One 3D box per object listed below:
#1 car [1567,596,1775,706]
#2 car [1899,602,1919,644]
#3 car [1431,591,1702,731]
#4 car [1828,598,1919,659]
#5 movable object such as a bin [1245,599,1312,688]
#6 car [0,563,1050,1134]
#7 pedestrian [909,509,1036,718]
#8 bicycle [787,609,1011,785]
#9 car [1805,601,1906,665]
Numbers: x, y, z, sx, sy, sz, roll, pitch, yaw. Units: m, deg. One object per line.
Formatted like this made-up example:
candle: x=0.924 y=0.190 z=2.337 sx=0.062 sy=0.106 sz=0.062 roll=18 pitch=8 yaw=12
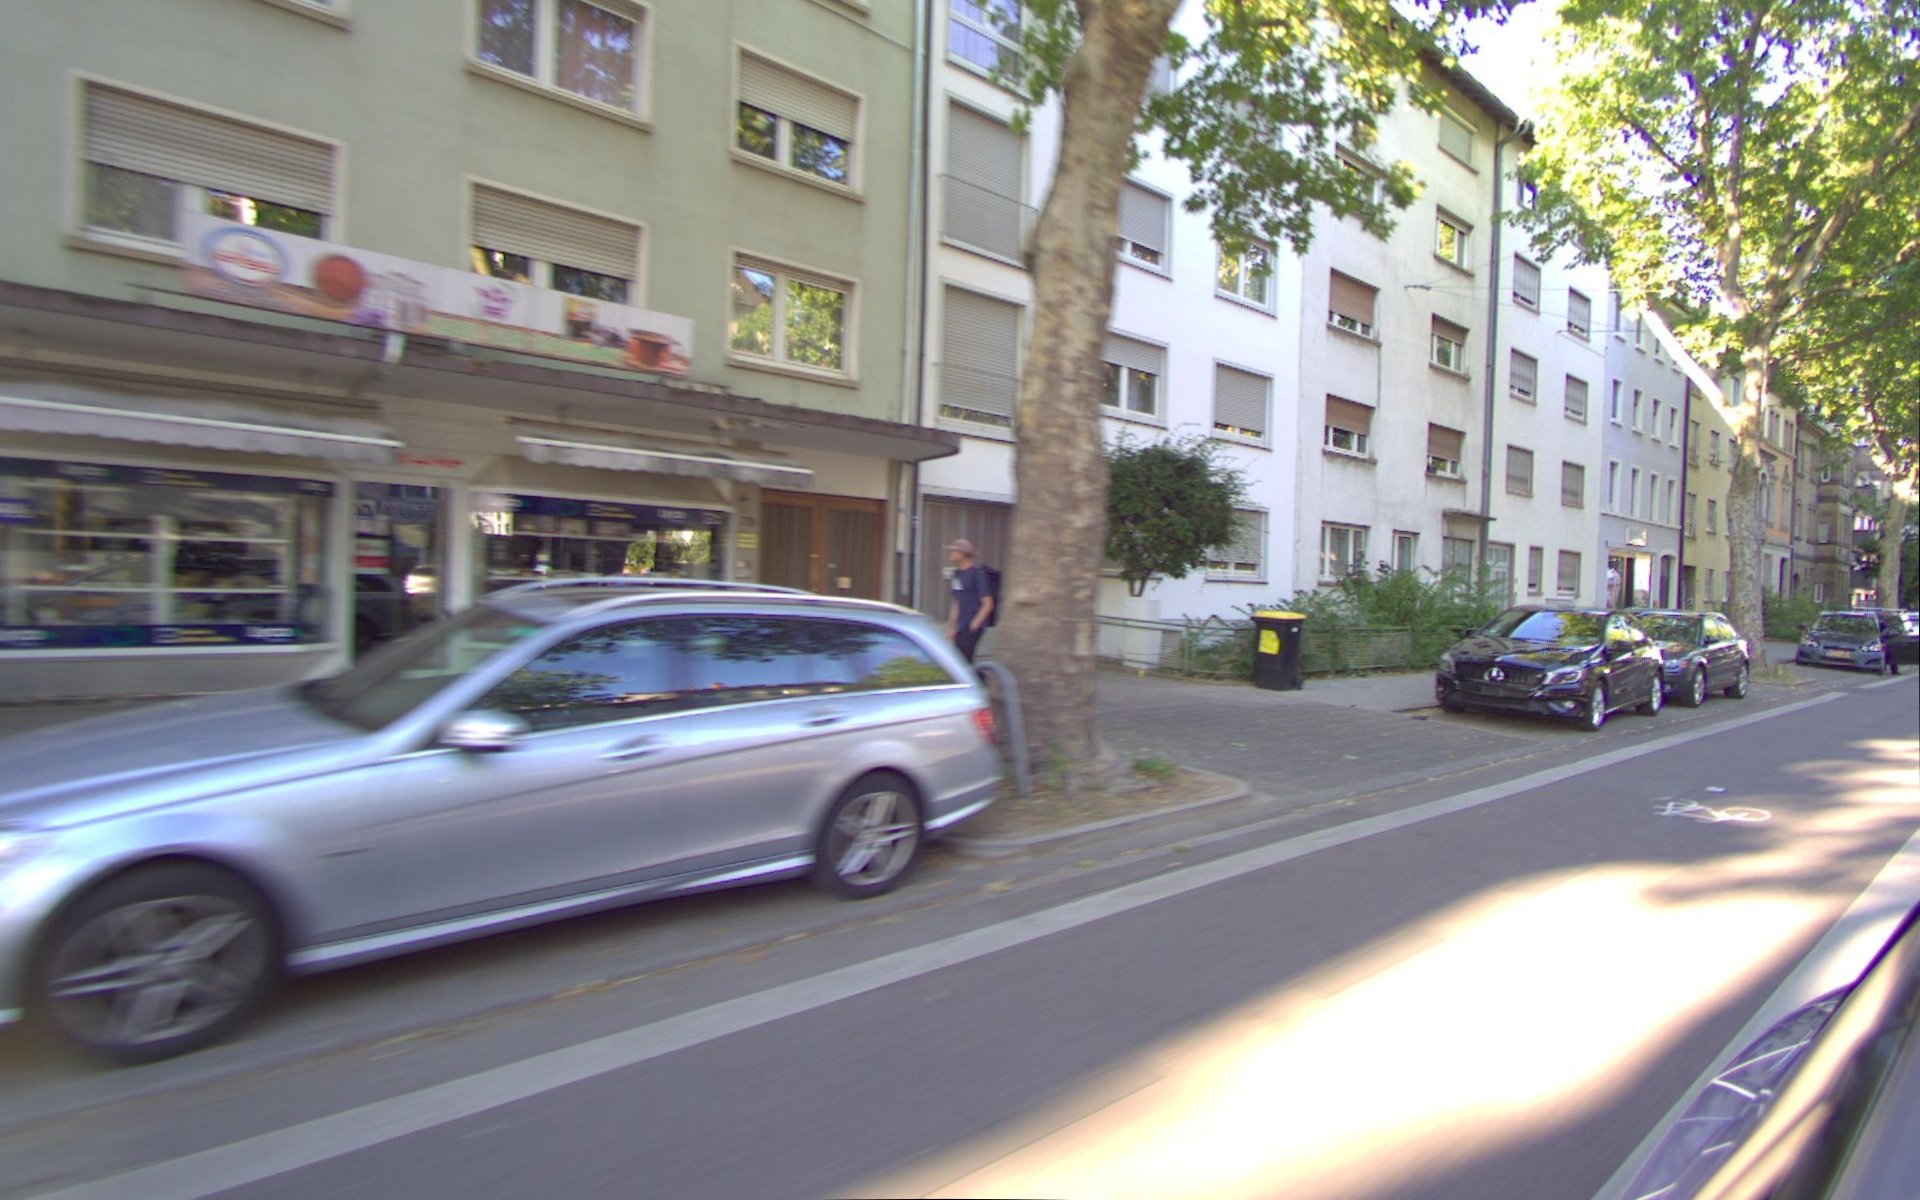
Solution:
car: x=11.556 y=0.720 z=16.345 sx=4.287 sy=1.432 sz=1.712 roll=0 pitch=4 yaw=-41
car: x=38.105 y=0.918 z=39.479 sx=4.121 sy=1.545 sz=1.702 roll=1 pitch=2 yaw=-41
car: x=7.977 y=0.669 z=13.137 sx=4.287 sy=1.432 sz=1.712 roll=0 pitch=4 yaw=-41
car: x=28.377 y=0.813 z=30.988 sx=4.583 sy=1.585 sz=1.998 roll=0 pitch=4 yaw=-41
movable object such as a bin: x=4.421 y=0.589 z=14.056 sx=0.655 sy=1.173 sz=0.616 roll=0 pitch=1 yaw=-43
car: x=-1.834 y=0.681 z=4.653 sx=4.694 sy=1.562 sz=1.698 roll=1 pitch=2 yaw=-42
pedestrian: x=0.132 y=0.118 z=10.459 sx=0.994 sy=2.038 sz=0.684 roll=1 pitch=3 yaw=-41
bicycle: x=-0.393 y=0.650 z=7.804 sx=0.764 sy=1.145 sz=2.061 roll=0 pitch=0 yaw=28
car: x=23.468 y=0.808 z=26.479 sx=1.744 sy=1.482 sz=3.961 roll=3 pitch=2 yaw=44
